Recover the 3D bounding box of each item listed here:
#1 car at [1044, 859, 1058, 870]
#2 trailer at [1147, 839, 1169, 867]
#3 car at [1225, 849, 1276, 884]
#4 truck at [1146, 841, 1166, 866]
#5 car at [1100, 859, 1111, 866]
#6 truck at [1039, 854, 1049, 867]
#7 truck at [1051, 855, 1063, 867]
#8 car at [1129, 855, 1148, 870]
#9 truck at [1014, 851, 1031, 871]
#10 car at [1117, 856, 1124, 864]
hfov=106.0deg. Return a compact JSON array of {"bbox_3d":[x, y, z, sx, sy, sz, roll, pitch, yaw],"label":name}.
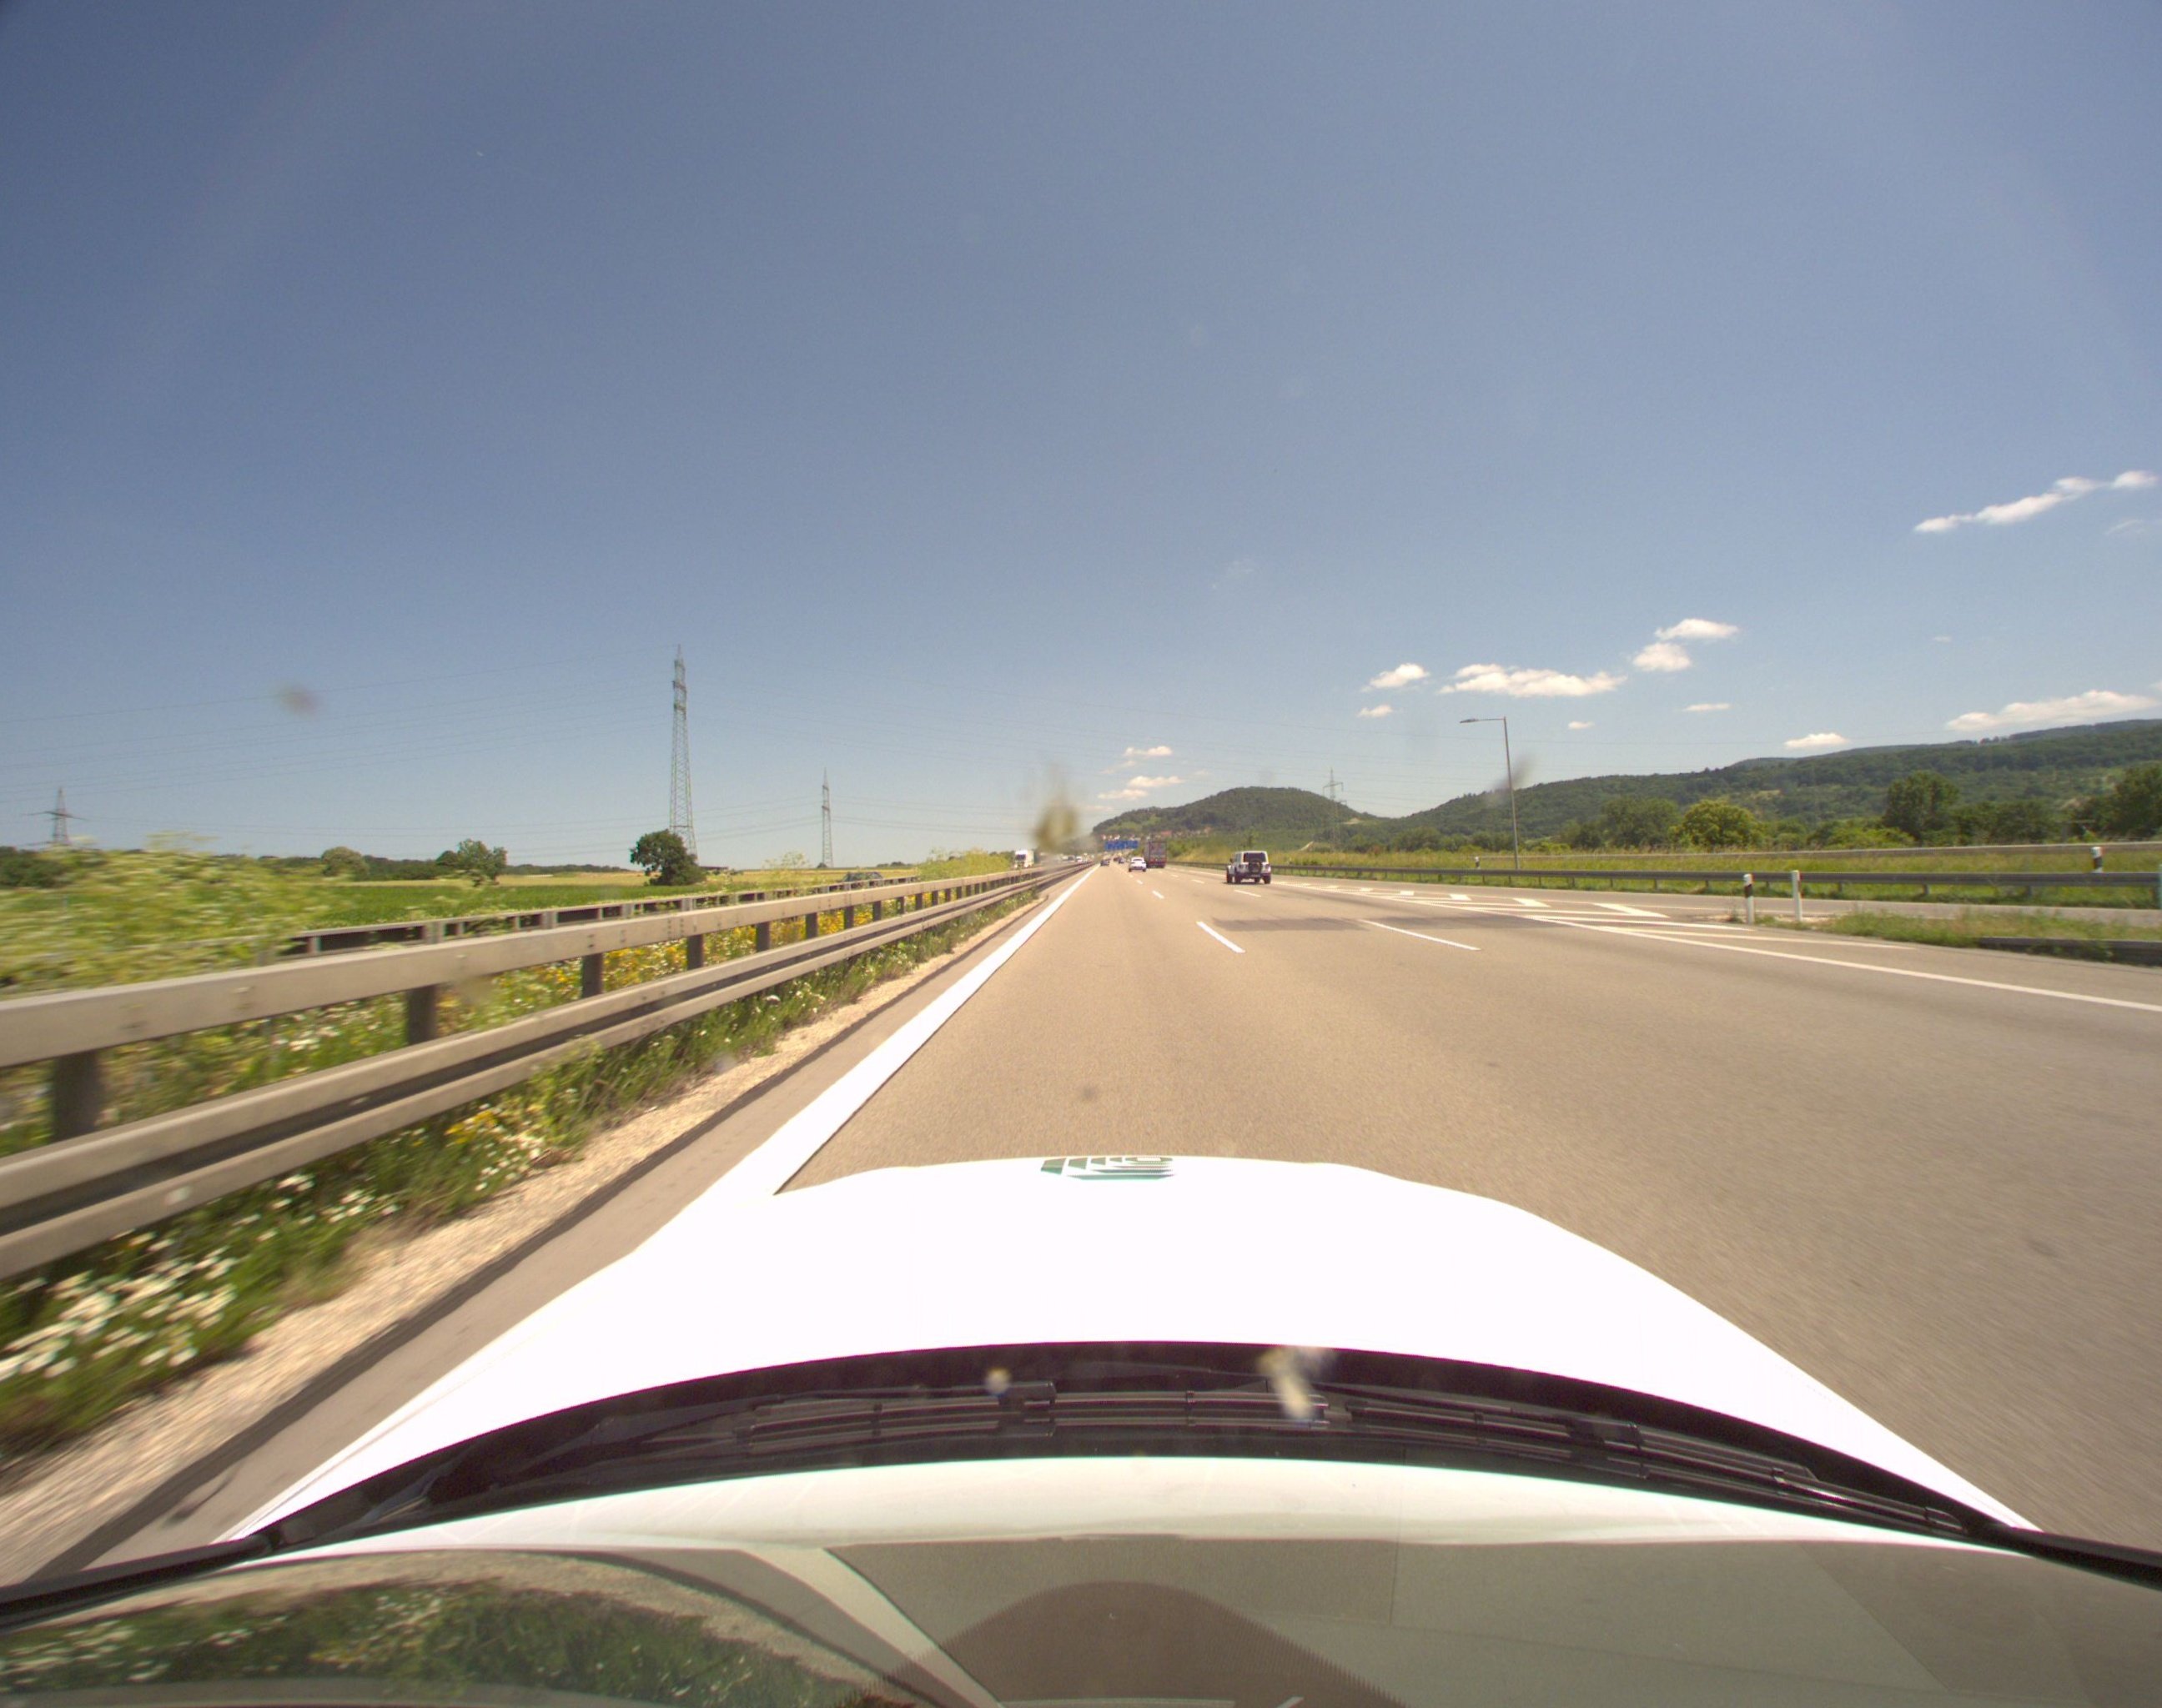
[{"bbox_3d":[-5.022,1.728,136.775,1.803,1.640,4.430,-3,-1,2],"label":"car"},{"bbox_3d":[11.896,-0.114,126.252,2.715,4.155,11.813,0,-1,2],"label":"trailer"},{"bbox_3d":[9.652,0.701,46.717,2.027,1.804,4.251,-3,0,1],"label":"car"},{"bbox_3d":[12.105,-0.047,132.233,2.742,4.020,6.791,0,-1,2],"label":"truck"},{"bbox_3d":[4.861,1.775,162.137,1.986,1.389,4.002,0,-1,2],"label":"car"},{"bbox_3d":[-10.049,1.800,223.450,2.711,3.690,6.051,0,-1,-2],"label":"truck"},{"bbox_3d":[-6.067,1.738,206.858,2.241,3.009,7.430,-3,-1,2],"label":"truck"},{"bbox_3d":[6.504,0.983,92.324,1.907,1.581,5.232,0,-1,1],"label":"car"},{"bbox_3d":[-11.744,1.472,164.643,2.929,3.930,6.477,0,-1,1],"label":"truck"},{"bbox_3d":[11.480,1.740,235.001,1.986,2.014,4.002,0,-1,2],"label":"car"}]
